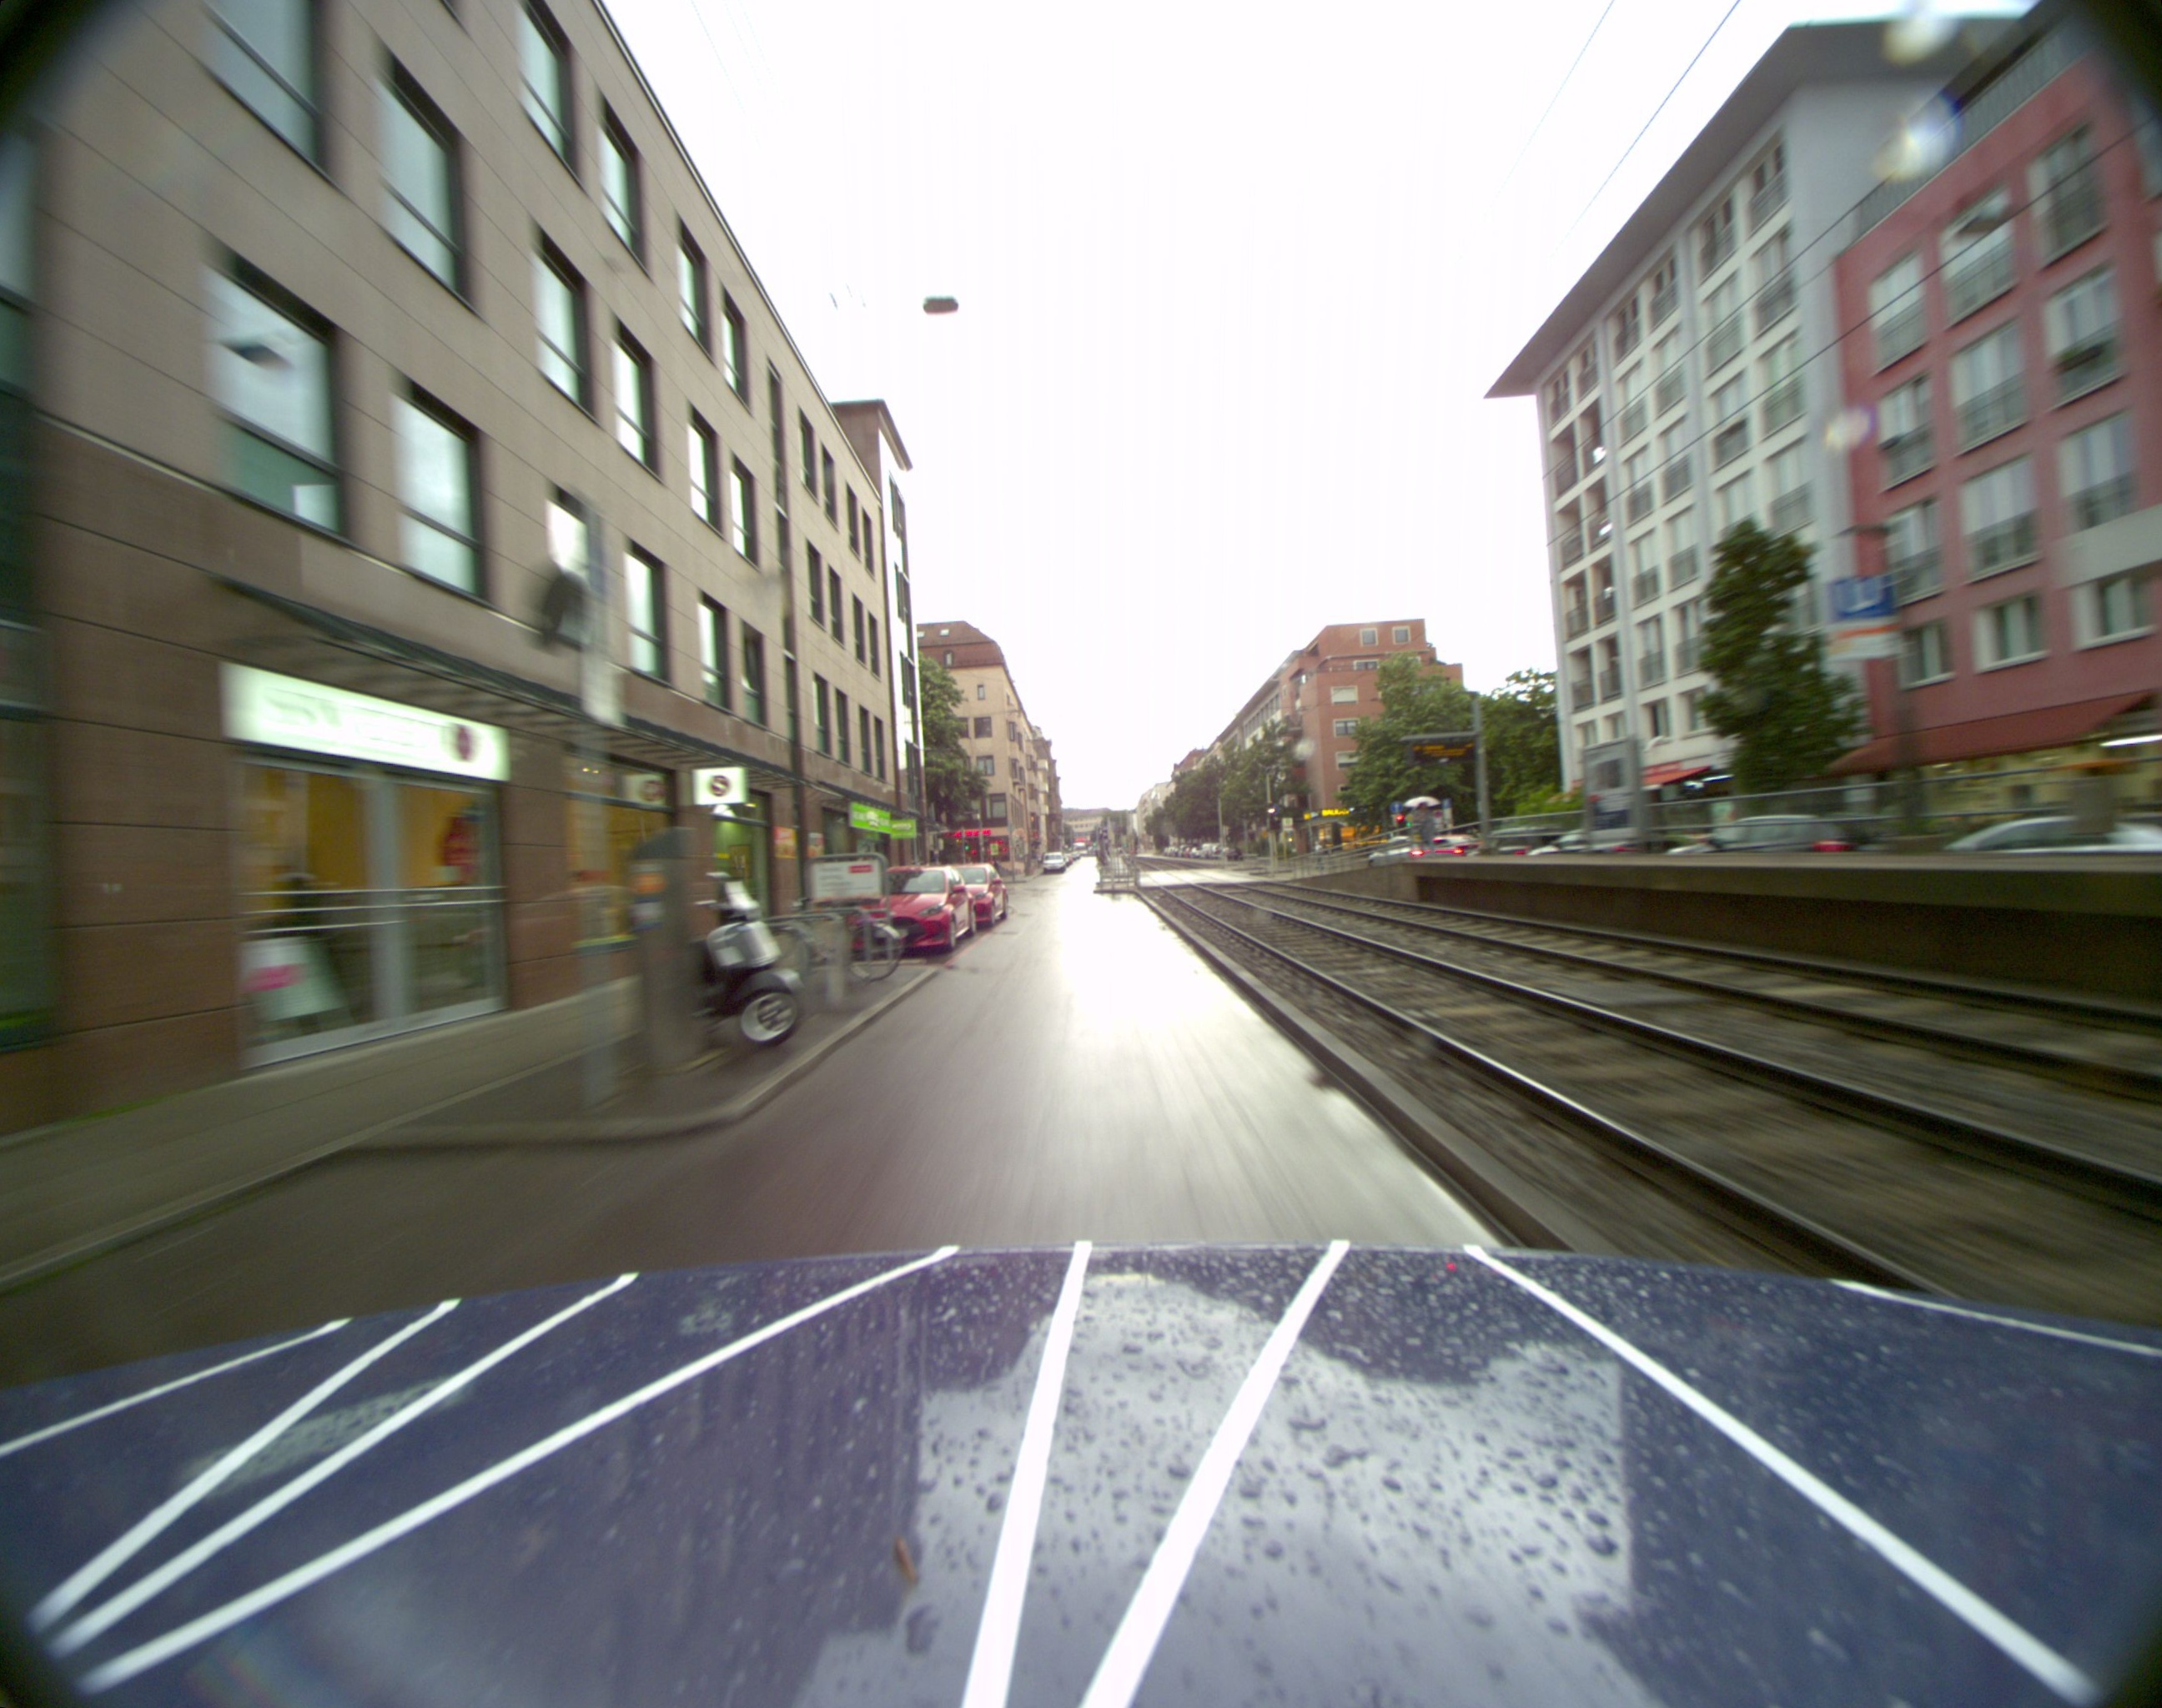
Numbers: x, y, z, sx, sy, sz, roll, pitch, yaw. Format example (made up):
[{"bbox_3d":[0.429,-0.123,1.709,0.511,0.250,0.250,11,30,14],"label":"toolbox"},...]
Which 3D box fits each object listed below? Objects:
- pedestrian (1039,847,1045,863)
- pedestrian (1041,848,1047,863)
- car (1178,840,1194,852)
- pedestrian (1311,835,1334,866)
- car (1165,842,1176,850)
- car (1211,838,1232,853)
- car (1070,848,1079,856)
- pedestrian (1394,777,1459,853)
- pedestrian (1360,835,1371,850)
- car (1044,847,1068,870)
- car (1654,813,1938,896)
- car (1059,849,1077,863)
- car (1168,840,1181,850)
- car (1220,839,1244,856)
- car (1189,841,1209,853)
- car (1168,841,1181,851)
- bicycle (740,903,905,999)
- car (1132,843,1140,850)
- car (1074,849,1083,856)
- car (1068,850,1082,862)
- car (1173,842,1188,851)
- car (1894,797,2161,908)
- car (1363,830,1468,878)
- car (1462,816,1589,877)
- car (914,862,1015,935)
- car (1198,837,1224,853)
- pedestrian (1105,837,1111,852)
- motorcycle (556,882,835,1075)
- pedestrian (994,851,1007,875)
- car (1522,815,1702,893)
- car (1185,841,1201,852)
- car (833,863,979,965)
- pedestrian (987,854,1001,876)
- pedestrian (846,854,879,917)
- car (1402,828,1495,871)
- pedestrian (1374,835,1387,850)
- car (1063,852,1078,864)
[{"bbox_3d":[-4.403,0.100,85.013,0.530,1.848,0.556,-3,2,-7],"label":"pedestrian"},{"bbox_3d":[-4.217,0.144,85.858,0.546,1.671,0.595,-3,2,-7],"label":"pedestrian"},{"bbox_3d":[15.743,-1.218,114.277,1.678,1.807,4.431,-3,1,0],"label":"car"},{"bbox_3d":[14.041,-0.209,44.222,0.821,1.687,0.985,-5,1,-7],"label":"pedestrian"},{"bbox_3d":[16.147,-1.450,137.363,1.718,1.367,4.457,-3,1,2],"label":"car"},{"bbox_3d":[15.709,-0.934,85.138,1.642,1.527,4.370,-3,1,1],"label":"car"},{"bbox_3d":[-1.144,-0.372,134.279,1.628,1.343,3.828,-3,1,-1],"label":"car"},{"bbox_3d":[9.585,-1.053,21.118,1.119,2.002,1.383,-3,1,1],"label":"pedestrian"},{"bbox_3d":[22.916,-0.903,61.184,0.677,1.171,0.608,-3,1,6],"label":"pedestrian"},{"bbox_3d":[-2.165,0.369,67.679,1.911,1.796,4.776,-3,1,-1],"label":"car"},{"bbox_3d":[14.821,-0.008,16.161,1.846,1.428,4.318,-3,1,-2],"label":"car"},{"bbox_3d":[-1.531,0.245,90.464,1.911,1.454,4.244,-3,1,0],"label":"car"},{"bbox_3d":[16.105,-1.541,131.420,1.662,1.575,4.337,-3,1,0],"label":"car"},{"bbox_3d":[15.665,-0.685,79.191,1.642,1.614,4.370,-3,1,1],"label":"car"},{"bbox_3d":[15.607,-0.950,100.541,1.696,1.454,4.529,-3,1,-2],"label":"car"},{"bbox_3d":[15.362,-1.407,125.214,1.642,1.529,4.022,-3,1,1],"label":"car"},{"bbox_3d":[-3.127,1.170,9.276,1.791,1.025,0.462,-3,2,0],"label":"bicycle"},{"bbox_3d":[13.994,-1.921,193.547,1.696,1.454,4.529,-3,1,-2],"label":"car"},{"bbox_3d":[-0.537,-0.349,151.482,1.588,1.343,3.977,-3,1,-1],"label":"car"},{"bbox_3d":[-0.834,0.283,106.609,1.720,1.454,3.444,-3,1,1],"label":"car"},{"bbox_3d":[15.711,-1.198,119.890,1.643,1.432,4.729,-3,1,0],"label":"car"},{"bbox_3d":[14.755,-0.060,11.018,1.572,1.428,3.978,-3,1,-2],"label":"car"},{"bbox_3d":[12.425,-0.022,28.605,1.811,1.569,5.021,-3,0,2],"label":"car"},{"bbox_3d":[15.154,-0.248,26.230,1.712,1.847,4.320,-3,1,-1],"label":"car"},{"bbox_3d":[-2.760,1.021,18.792,1.702,1.471,3.867,-1,1,2],"label":"car"},{"bbox_3d":[15.638,-1.087,91.525,1.912,1.834,5.255,-3,1,-3],"label":"car"},{"bbox_3d":[2.947,-1.012,82.976,0.585,1.600,0.701,-3,2,-1],"label":"pedestrian"},{"bbox_3d":[-3.240,0.992,6.403,2.086,1.399,0.800,-2,2,19],"label":"motorcycle"},{"bbox_3d":[-6.213,0.724,58.797,0.665,1.809,0.597,-1,2,42],"label":"pedestrian"},{"bbox_3d":[14.538,-0.012,21.154,1.807,1.847,4.379,-3,1,-1],"label":"car"},{"bbox_3d":[15.960,-1.096,108.677,1.643,1.530,3.803,-3,1,0],"label":"car"},{"bbox_3d":[-2.984,0.959,13.775,1.703,1.454,3.866,-1,1,0],"label":"car"},{"bbox_3d":[-6.630,0.839,57.834,0.723,1.640,0.627,-2,2,42],"label":"pedestrian"},{"bbox_3d":[-5.881,0.832,20.436,0.603,1.650,0.625,-3,2,1],"label":"pedestrian"},{"bbox_3d":[15.210,-0.183,31.722,1.730,1.602,4.553,-3,0,2],"label":"car"},{"bbox_3d":[24.307,-0.898,61.697,0.679,1.171,0.607,-4,1,-31],"label":"pedestrian"},{"bbox_3d":[-1.367,0.477,99.734,1.649,1.454,3.413,-3,1,1],"label":"car"}]
